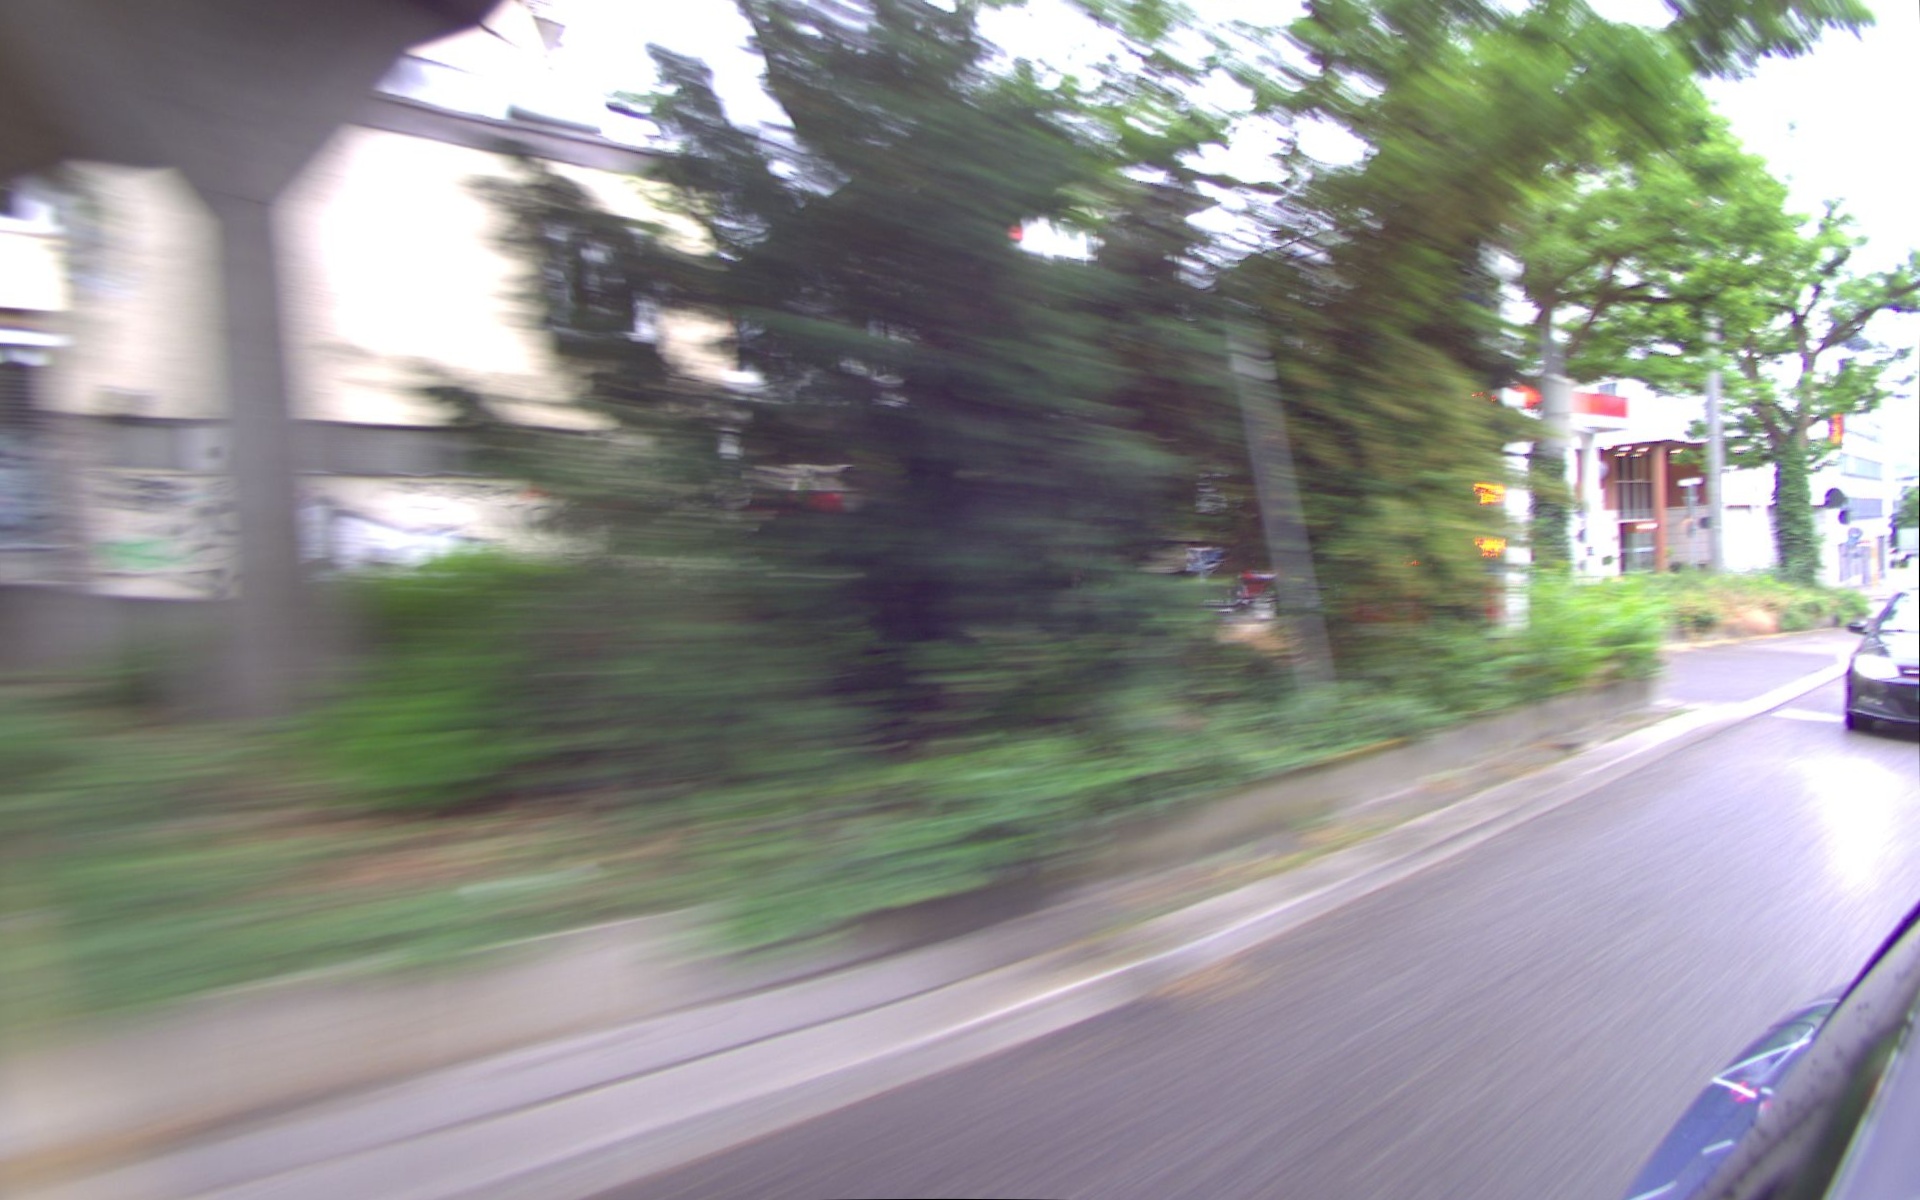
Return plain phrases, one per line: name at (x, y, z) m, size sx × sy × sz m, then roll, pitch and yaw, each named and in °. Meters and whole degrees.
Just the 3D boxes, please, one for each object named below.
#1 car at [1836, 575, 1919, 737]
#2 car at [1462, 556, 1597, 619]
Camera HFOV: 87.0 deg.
car at (10.205, 0.495, 9.874) m, size 3.777 × 1.416 × 1.679 m, roll -1°, pitch 3°, yaw -37°
car at (16.243, -0.404, 28.825) m, size 3.791 × 1.643 × 1.779 m, roll -2°, pitch 3°, yaw -33°
